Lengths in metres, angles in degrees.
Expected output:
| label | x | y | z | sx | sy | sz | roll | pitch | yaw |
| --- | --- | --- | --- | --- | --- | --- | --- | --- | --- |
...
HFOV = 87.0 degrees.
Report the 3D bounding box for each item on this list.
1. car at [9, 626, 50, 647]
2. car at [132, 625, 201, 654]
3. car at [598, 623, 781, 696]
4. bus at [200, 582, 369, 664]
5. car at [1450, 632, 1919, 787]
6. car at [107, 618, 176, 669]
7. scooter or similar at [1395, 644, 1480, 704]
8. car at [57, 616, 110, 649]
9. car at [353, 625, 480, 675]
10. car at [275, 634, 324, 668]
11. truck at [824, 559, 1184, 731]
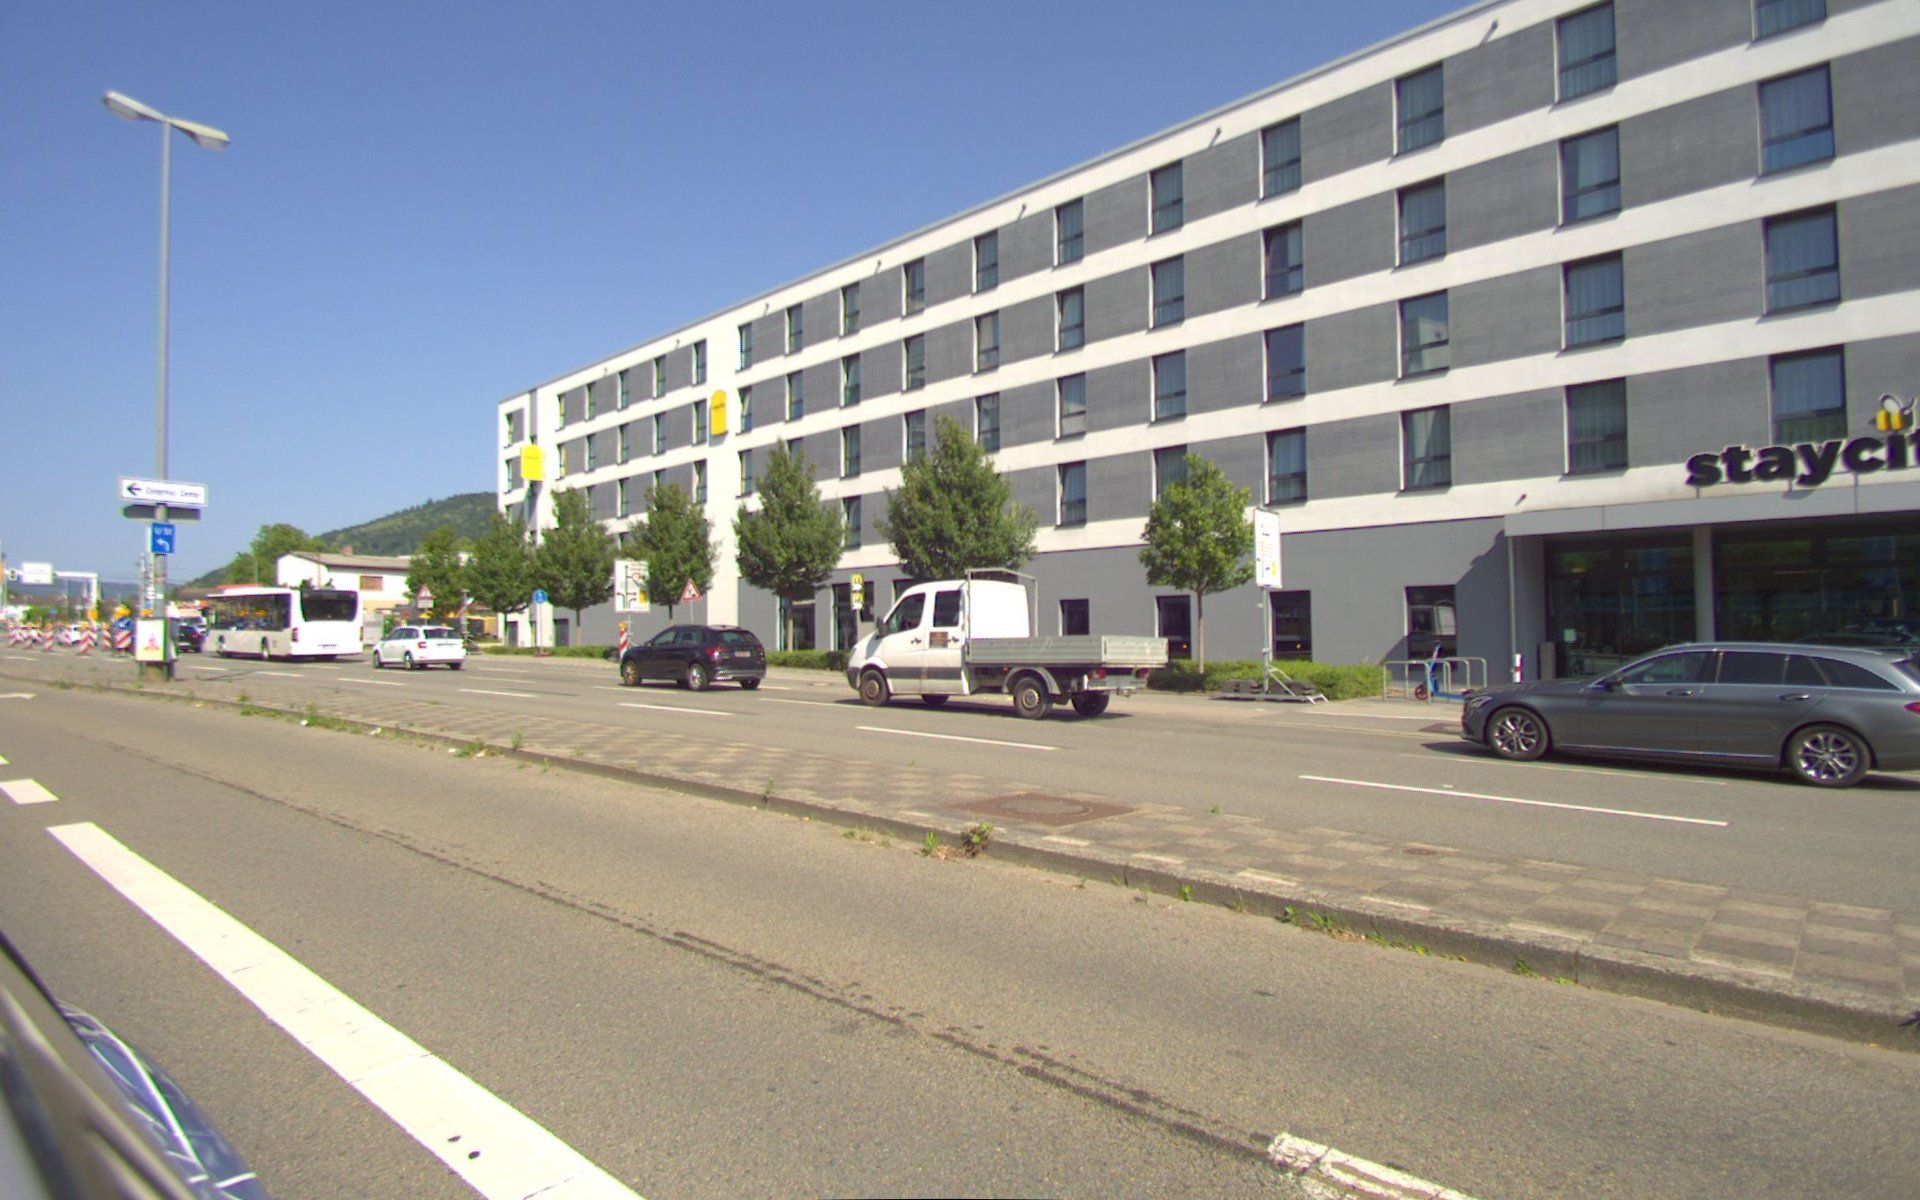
| label | x | y | z | sx | sy | sz | roll | pitch | yaw |
| --- | --- | --- | --- | --- | --- | --- | --- | --- | --- |
| car | -74.602 | 2.900 | 81.147 | 3.584 | 1.631 | 1.699 | -1 | -1 | 36 |
| car | -42.089 | 2.062 | 53.634 | 4.888 | 1.443 | 1.973 | -1 | -2 | 41 |
| car | -6.578 | 1.372 | 24.460 | 4.405 | 1.590 | 1.975 | -1 | -2 | 37 |
| bus | -29.097 | 1.005 | 43.239 | 11.967 | 3.102 | 2.710 | -1 | -4 | 40 |
| car | 8.311 | 1.123 | 11.504 | 4.585 | 1.438 | 1.934 | -1 | -4 | 42 |
| car | -35.573 | 1.829 | 43.952 | 4.162 | 2.029 | 1.658 | 0 | 0 | 41 |
| scooter or similar | 9.579 | 1.462 | 20.325 | 1.518 | 1.121 | 0.347 | 0 | -1 | 44 |
| car | -61.245 | 2.276 | 70.713 | 3.995 | 2.029 | 1.974 | -5 | -7 | 39 |
| car | -18.241 | 1.665 | 33.927 | 4.403 | 1.497 | 1.976 | 0 | -4 | 36 |
| car | -25.583 | 1.965 | 39.192 | 2.219 | 1.216 | 1.044 | 0 | 0 | 42 |
| truck | 0.565 | 0.763 | 18.151 | 6.437 | 2.564 | 2.331 | -1 | -4 | 43 |
